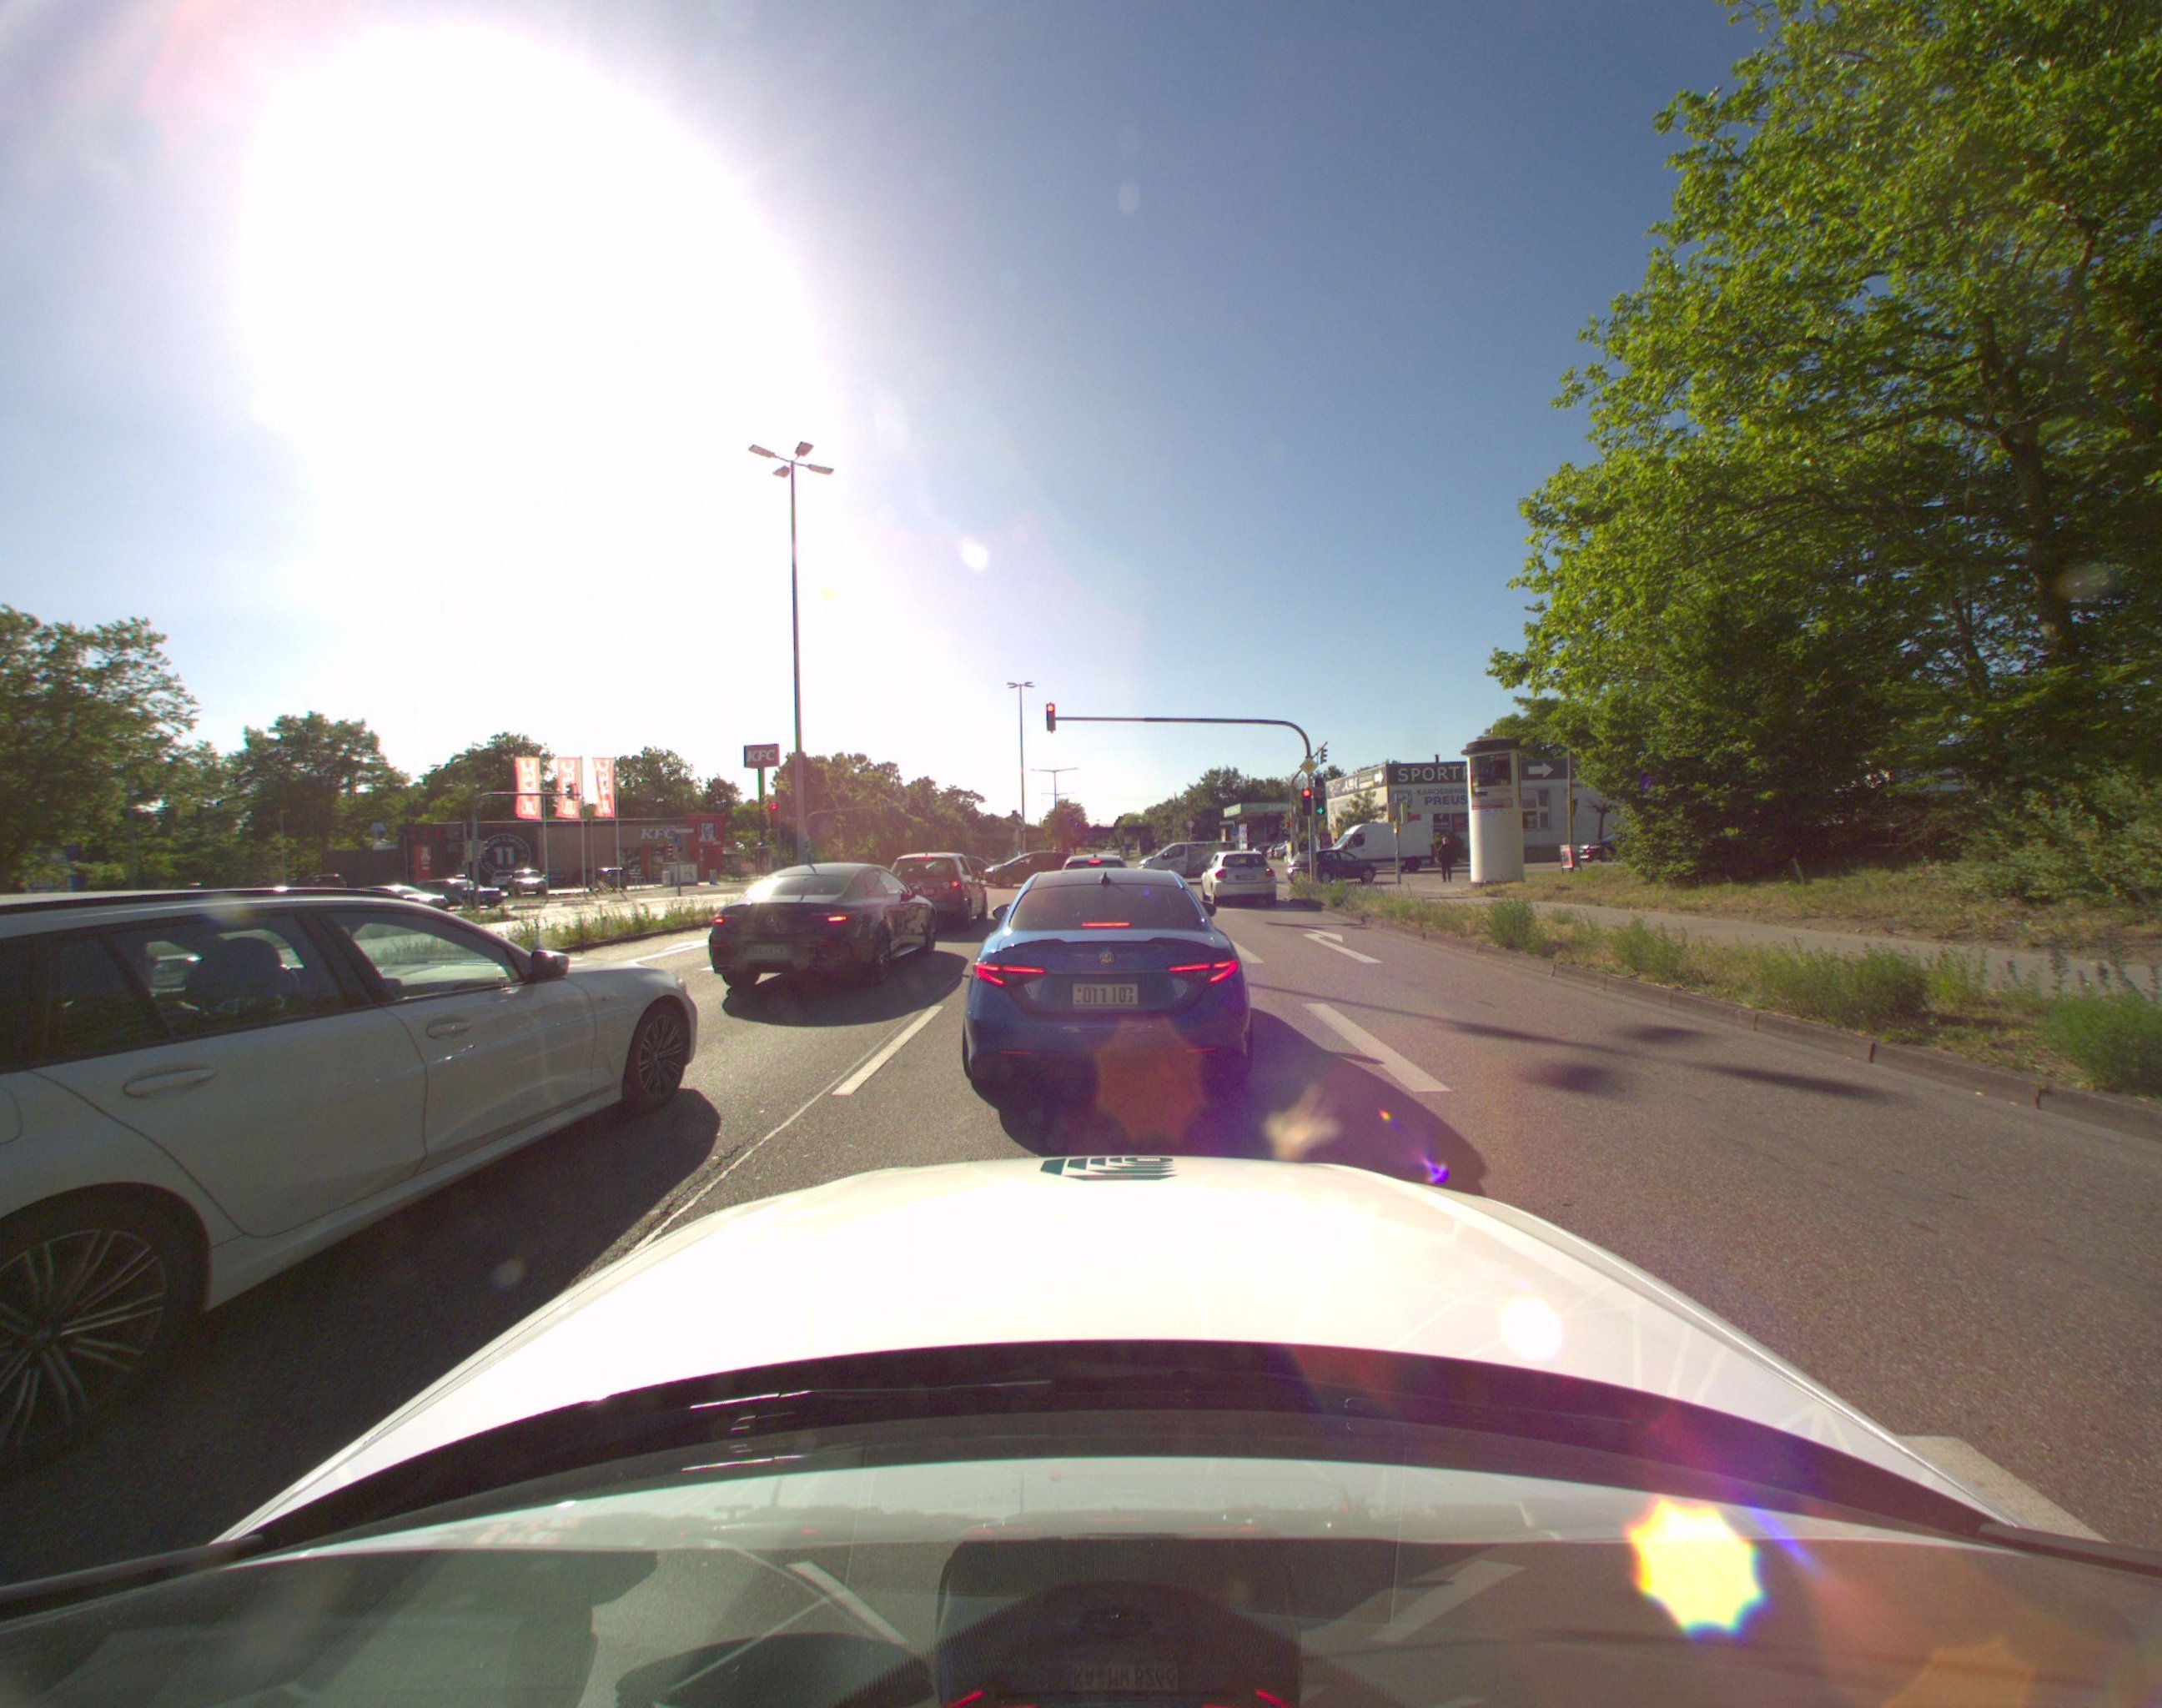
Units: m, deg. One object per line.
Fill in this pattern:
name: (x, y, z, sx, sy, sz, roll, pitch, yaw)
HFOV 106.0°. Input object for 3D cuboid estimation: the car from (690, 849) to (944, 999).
car: (-3.164, 0.733, 10.856, 1.806, 1.551, 4.544, -1, 0, 1)

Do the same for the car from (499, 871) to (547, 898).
car: (-37.378, 2.012, 54.551, 1.946, 1.740, 4.046, 0, -1, -45)

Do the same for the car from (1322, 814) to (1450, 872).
car: (15.802, -0.536, 42.437, 5.812, 2.672, 2.001, -3, -1, 2)

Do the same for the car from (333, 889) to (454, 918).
car: (-32.181, 2.308, 38.204, 4.070, 1.252, 1.871, 0, -1, 0)

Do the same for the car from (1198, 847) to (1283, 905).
car: (4.521, 0.566, 23.649, 1.777, 1.537, 4.109, 0, 0, 2)

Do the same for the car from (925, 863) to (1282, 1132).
car: (0.226, 0.788, 6.228, 1.901, 1.423, 3.722, 0, -1, 3)

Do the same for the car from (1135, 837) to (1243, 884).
car: (5.151, 0.322, 39.424, 4.937, 2.035, 1.881, -2, -1, 0)

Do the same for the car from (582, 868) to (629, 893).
car: (-33.911, 1.857, 58.022, 1.946, 1.740, 4.046, 0, -1, -45)

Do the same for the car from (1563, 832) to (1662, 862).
car: (28.010, -0.349, 43.002, 3.972, 1.508, 1.879, 0, -1, 2)

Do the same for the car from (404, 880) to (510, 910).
car: (-31.918, 2.086, 41.748, 3.940, 1.453, 1.936, 0, -1, 0)

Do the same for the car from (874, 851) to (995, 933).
car: (-3.007, 0.738, 17.617, 1.806, 1.551, 4.353, 0, -1, 0)

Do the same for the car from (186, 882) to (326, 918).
car: (-39.094, 2.180, 38.688, 4.608, 1.579, 1.936, 0, -1, 0)

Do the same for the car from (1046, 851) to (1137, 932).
car: (0.312, 0.722, 17.071, 1.696, 1.497, 3.722, 0, -1, 3)

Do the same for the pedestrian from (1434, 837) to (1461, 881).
pedestrian: (14.192, 0.188, 31.576, 0.814, 1.669, 0.514, 0, -1, 1)

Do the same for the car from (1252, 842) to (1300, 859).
car: (17.821, -0.311, 74.449, 3.971, 1.552, 2.001, 0, -1, 2)

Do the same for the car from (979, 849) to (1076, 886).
car: (-2.482, 0.606, 37.453, 4.307, 1.650, 1.632, 0, -1, -11)

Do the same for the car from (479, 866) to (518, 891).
car: (-45.463, 1.879, 63.569, 2.011, 1.813, 3.727, 0, -1, -43)

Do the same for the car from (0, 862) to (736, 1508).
car: (-3.422, 0.825, 3.414, 1.805, 1.486, 4.599, -1, 0, 2)

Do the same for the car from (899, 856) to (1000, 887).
car: (-6.492, 0.836, 40.193, 4.820, 1.468, 1.752, 0, -1, -11)
